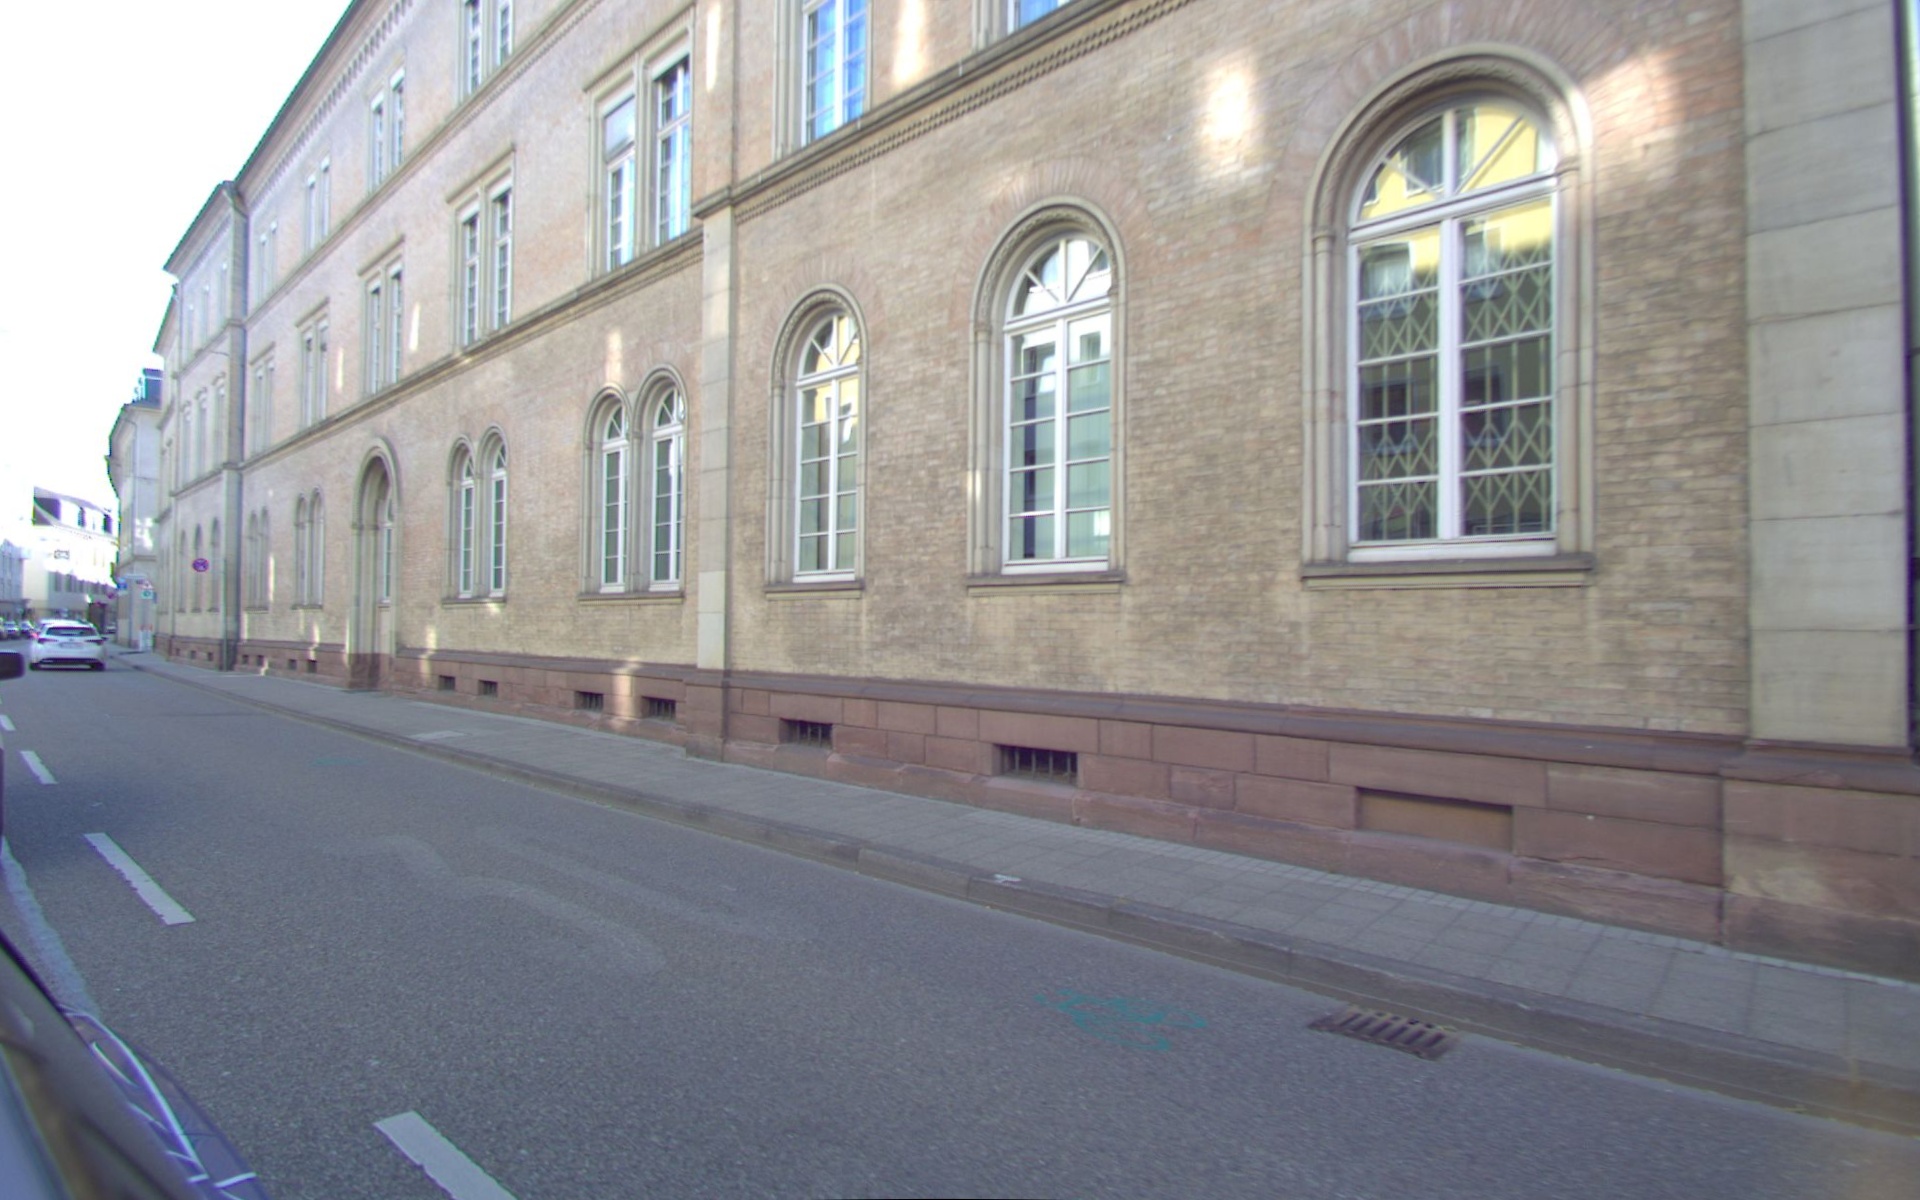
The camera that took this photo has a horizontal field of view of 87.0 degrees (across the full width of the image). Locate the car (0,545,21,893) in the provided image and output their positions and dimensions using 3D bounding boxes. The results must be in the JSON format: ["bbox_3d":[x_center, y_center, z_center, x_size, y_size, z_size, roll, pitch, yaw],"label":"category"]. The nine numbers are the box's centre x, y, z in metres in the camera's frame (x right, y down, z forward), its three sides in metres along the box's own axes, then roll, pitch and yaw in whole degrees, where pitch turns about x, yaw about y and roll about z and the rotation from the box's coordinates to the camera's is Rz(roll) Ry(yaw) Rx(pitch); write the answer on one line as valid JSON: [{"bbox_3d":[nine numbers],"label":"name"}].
[{"bbox_3d":[-7.644,0.656,6.561,5.340,1.850,1.795,-1,-2,42],"label":"car"}]

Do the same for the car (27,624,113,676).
[{"bbox_3d":[-28.161,1.560,32.020,1.864,1.487,4.550,5,-4,-42],"label":"car"}]

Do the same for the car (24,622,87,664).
[{"bbox_3d":[-37.577,1.769,42.017,1.666,1.595,4.277,5,-5,-44],"label":"car"}]

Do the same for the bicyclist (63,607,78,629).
[{"bbox_3d":[-65.175,1.349,74.188,0.641,1.579,0.963,5,-5,-37],"label":"bicyclist"}]

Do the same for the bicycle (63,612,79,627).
[{"bbox_3d":[-65.176,1.450,74.194,0.641,1.014,1.810,5,-4,-37],"label":"bicycle"}]

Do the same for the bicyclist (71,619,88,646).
[{"bbox_3d":[-47.226,1.742,54.283,0.596,1.454,0.579,2,-3,-44],"label":"bicyclist"}]
